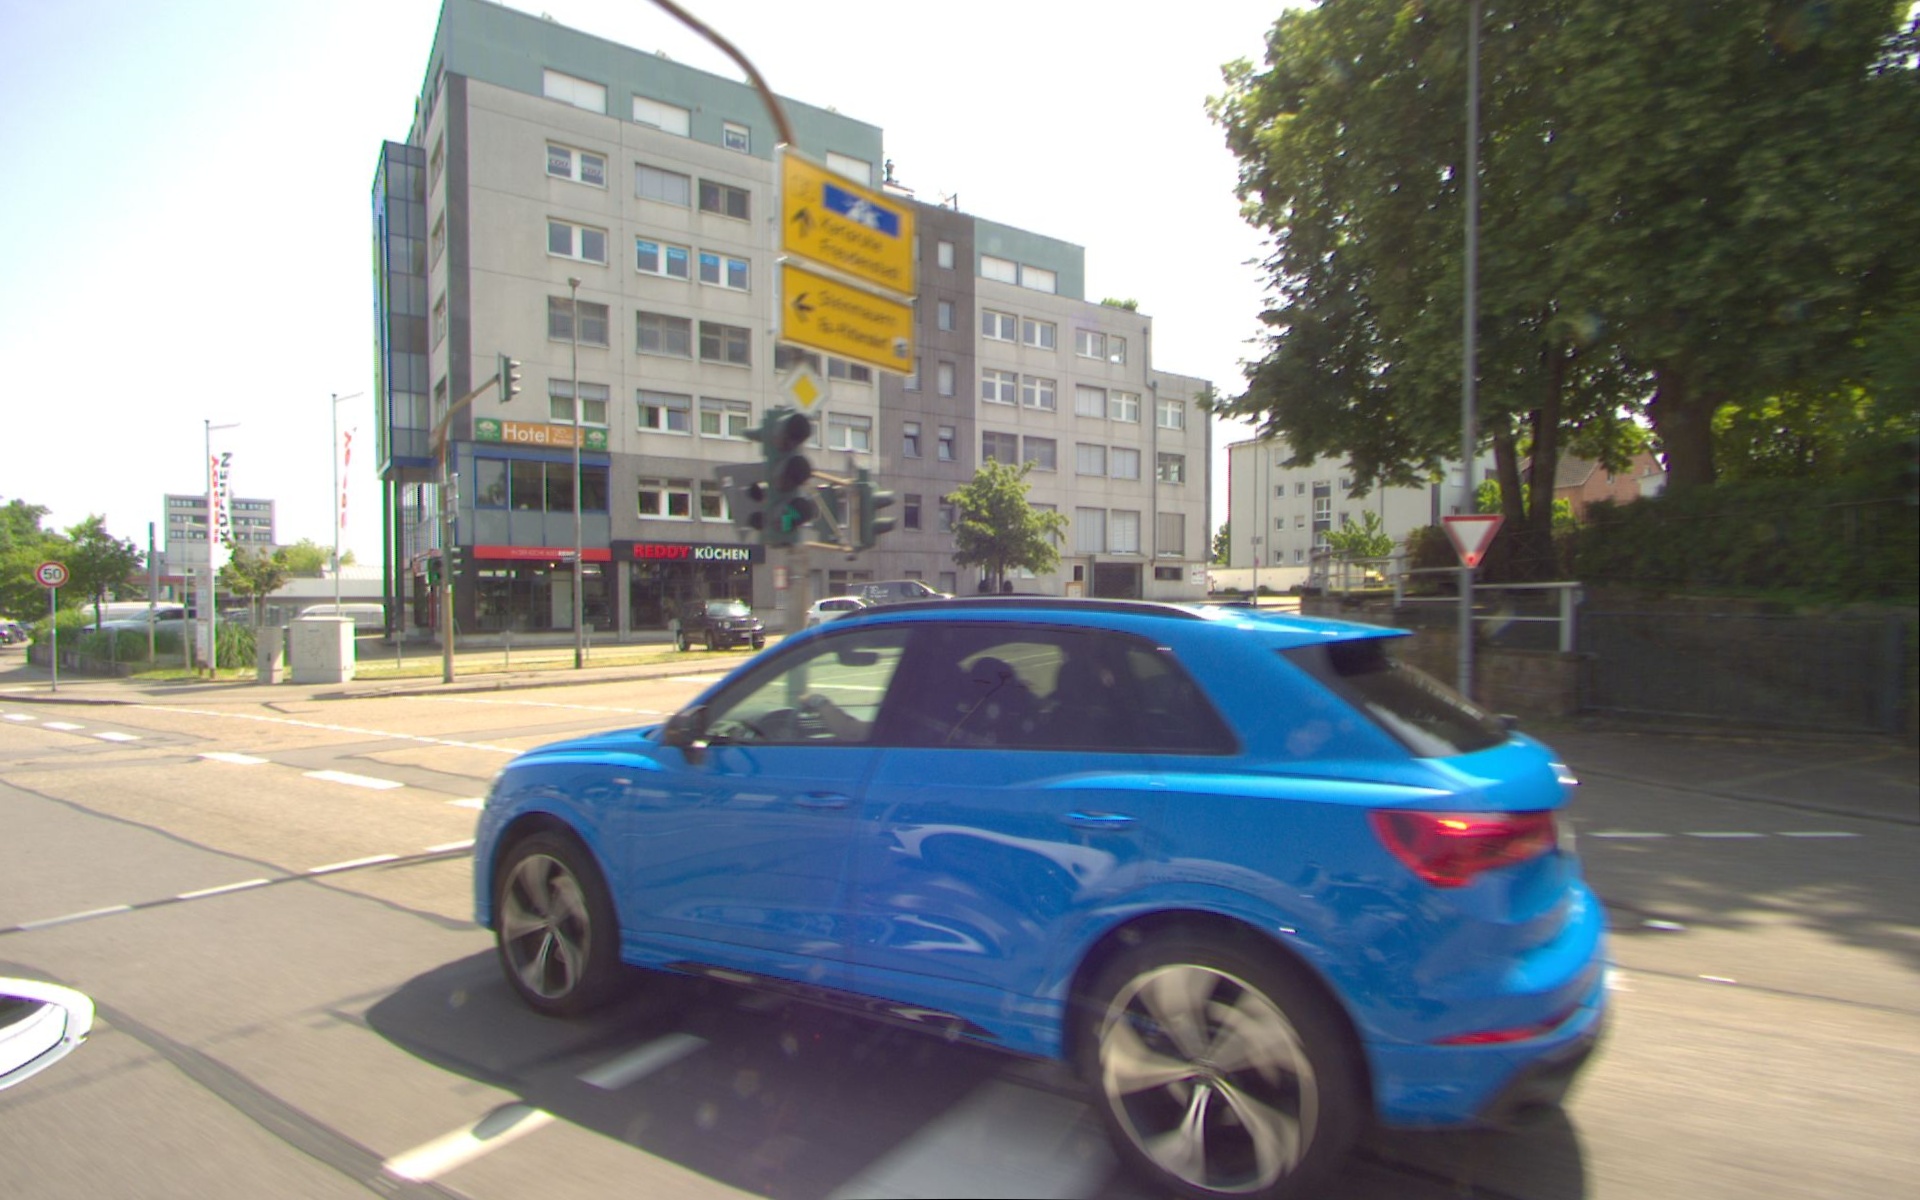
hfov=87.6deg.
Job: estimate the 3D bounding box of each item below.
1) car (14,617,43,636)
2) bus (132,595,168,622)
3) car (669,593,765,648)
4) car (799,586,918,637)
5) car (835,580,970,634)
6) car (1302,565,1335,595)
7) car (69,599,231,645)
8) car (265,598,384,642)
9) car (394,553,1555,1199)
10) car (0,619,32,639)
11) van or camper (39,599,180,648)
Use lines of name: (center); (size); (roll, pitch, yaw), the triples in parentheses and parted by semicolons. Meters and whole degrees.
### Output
car: (-82.611, 2.313, 88.868); (1.700, 1.569, 4.748); (-1, 0, -41)
bus: (-104.424, 1.025, 129.232); (2.778, 3.120, 12.195); (1, 1, -35)
car: (-8.054, 0.673, 32.904); (1.525, 1.697, 4.298); (0, -1, -37)
car: (-3.845, 0.469, 38.023); (4.148, 1.551, 1.543); (-5, -2, 11)
car: (-2.283, 0.311, 40.405); (5.094, 2.062, 1.891); (0, -2, 12)
car: (23.402, -1.278, 65.456); (1.846, 1.683, 3.996); (-1, -2, 17)
car: (-32.582, 0.923, 40.457); (1.968, 1.735, 4.727); (-1, -2, 25)
car: (-37.870, 1.242, 59.749); (5.834, 2.560, 2.105); (1, -2, -37)
car: (-0.138, 0.756, 4.028); (4.332, 1.618, 1.909); (-1, -1, 32)
car: (-75.476, 2.261, 80.052); (1.841, 1.500, 5.108); (0, 0, -42)
van or camper: (-54.074, 1.441, 63.893); (6.742, 2.937, 2.256); (-1, 1, -40)
